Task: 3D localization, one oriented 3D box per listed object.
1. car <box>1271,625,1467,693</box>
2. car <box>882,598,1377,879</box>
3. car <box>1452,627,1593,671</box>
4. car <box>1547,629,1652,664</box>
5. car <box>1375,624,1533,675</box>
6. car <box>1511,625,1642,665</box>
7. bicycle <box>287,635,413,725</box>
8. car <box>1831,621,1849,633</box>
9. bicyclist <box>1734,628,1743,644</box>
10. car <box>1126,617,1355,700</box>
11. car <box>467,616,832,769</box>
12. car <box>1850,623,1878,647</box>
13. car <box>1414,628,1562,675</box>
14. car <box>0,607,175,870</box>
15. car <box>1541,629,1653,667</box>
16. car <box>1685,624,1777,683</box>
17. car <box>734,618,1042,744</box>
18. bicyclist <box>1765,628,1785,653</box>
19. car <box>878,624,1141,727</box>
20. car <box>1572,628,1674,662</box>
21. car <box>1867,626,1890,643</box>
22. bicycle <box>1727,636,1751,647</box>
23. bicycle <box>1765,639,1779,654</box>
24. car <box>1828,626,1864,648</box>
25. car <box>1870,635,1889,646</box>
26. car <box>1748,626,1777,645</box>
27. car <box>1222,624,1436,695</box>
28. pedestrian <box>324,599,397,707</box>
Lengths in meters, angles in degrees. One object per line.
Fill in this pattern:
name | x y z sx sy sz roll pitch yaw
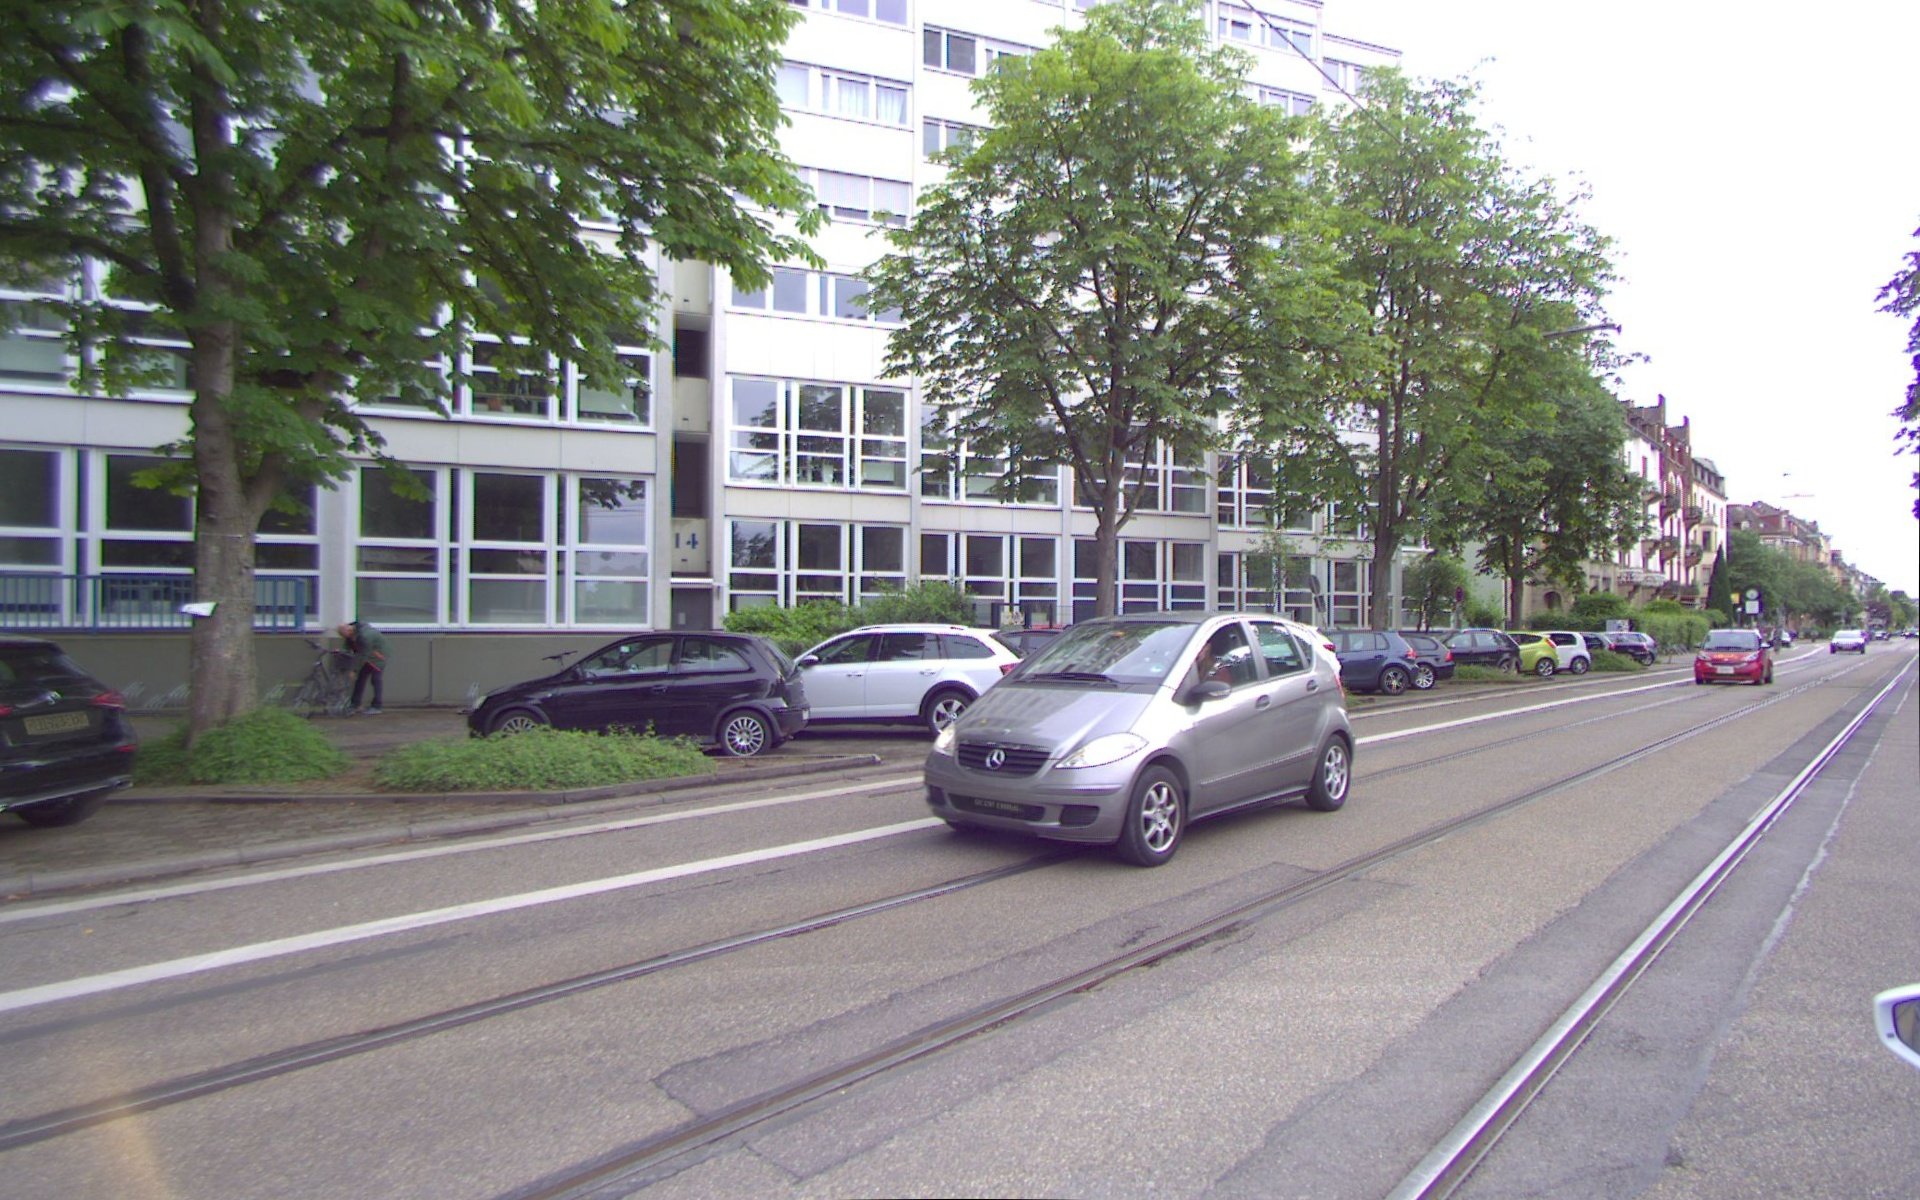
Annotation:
car | 10.303 1.469 25.492 4.261 1.556 1.700 1 0 0
car | 1.435 0.834 7.560 1.881 1.550 3.731 -3 -3 44
car | 19.270 1.654 34.531 3.890 1.370 1.700 1 0 0
car | 28.394 2.050 44.699 3.647 1.404 1.699 1 0 21
car | 14.751 1.468 30.145 3.890 1.370 1.700 1 0 0
car | 23.190 1.687 37.868 3.890 1.370 1.700 1 0 0
bicycle | -9.135 1.175 15.095 1.574 1.285 0.403 1 -1 -26
car | 154.201 4.673 175.981 3.850 2.094 1.805 1 -2 -42
bicyclist | 58.982 2.698 76.117 0.506 1.184 0.437 1 -1 38
car | 5.745 1.184 20.865 4.263 1.576 1.699 1 0 -4
car | -3.428 1.002 11.575 3.632 1.544 1.700 1 0 1
car | 97.095 3.741 107.877 2.181 2.449 3.979 -1 -2 42
car | 17.020 1.645 32.511 3.890 1.370 1.700 1 0 0
car | -7.531 0.808 6.450 3.632 1.544 1.700 1 0 1
car | 26.681 1.982 42.199 3.647 1.404 1.699 1 0 21
car | 21.620 1.465 28.145 2.763 1.542 1.660 2 -2 -44
car | -0.904 1.050 13.870 3.947 1.504 1.701 1 0 7
bicyclist | 50.110 2.472 61.732 1.020 1.520 0.835 1 -2 -44
car | 0.827 1.145 16.025 3.947 1.424 1.701 1 0 7
car | 30.791 2.084 46.733 3.647 1.404 1.699 1 0 21
car | 127.564 4.804 139.493 2.183 2.285 3.975 -1 -2 45
bicycle | 59.013 3.147 76.092 1.428 0.811 0.433 -1 -2 38
bicycle | 49.932 2.850 61.766 2.124 0.880 0.464 1 -2 -45
car | 58.144 2.415 65.980 1.721 1.448 3.980 -1 -2 41
car | 140.426 6.128 153.446 3.539 1.665 1.757 1 -2 -42
car | 94.229 4.160 117.892 4.191 2.236 2.156 1 -2 -44
car | 8.360 1.335 23.021 4.261 1.473 1.700 1 0 0
pedestrian | -9.324 0.816 15.652 0.743 1.633 0.731 3 -1 -17
